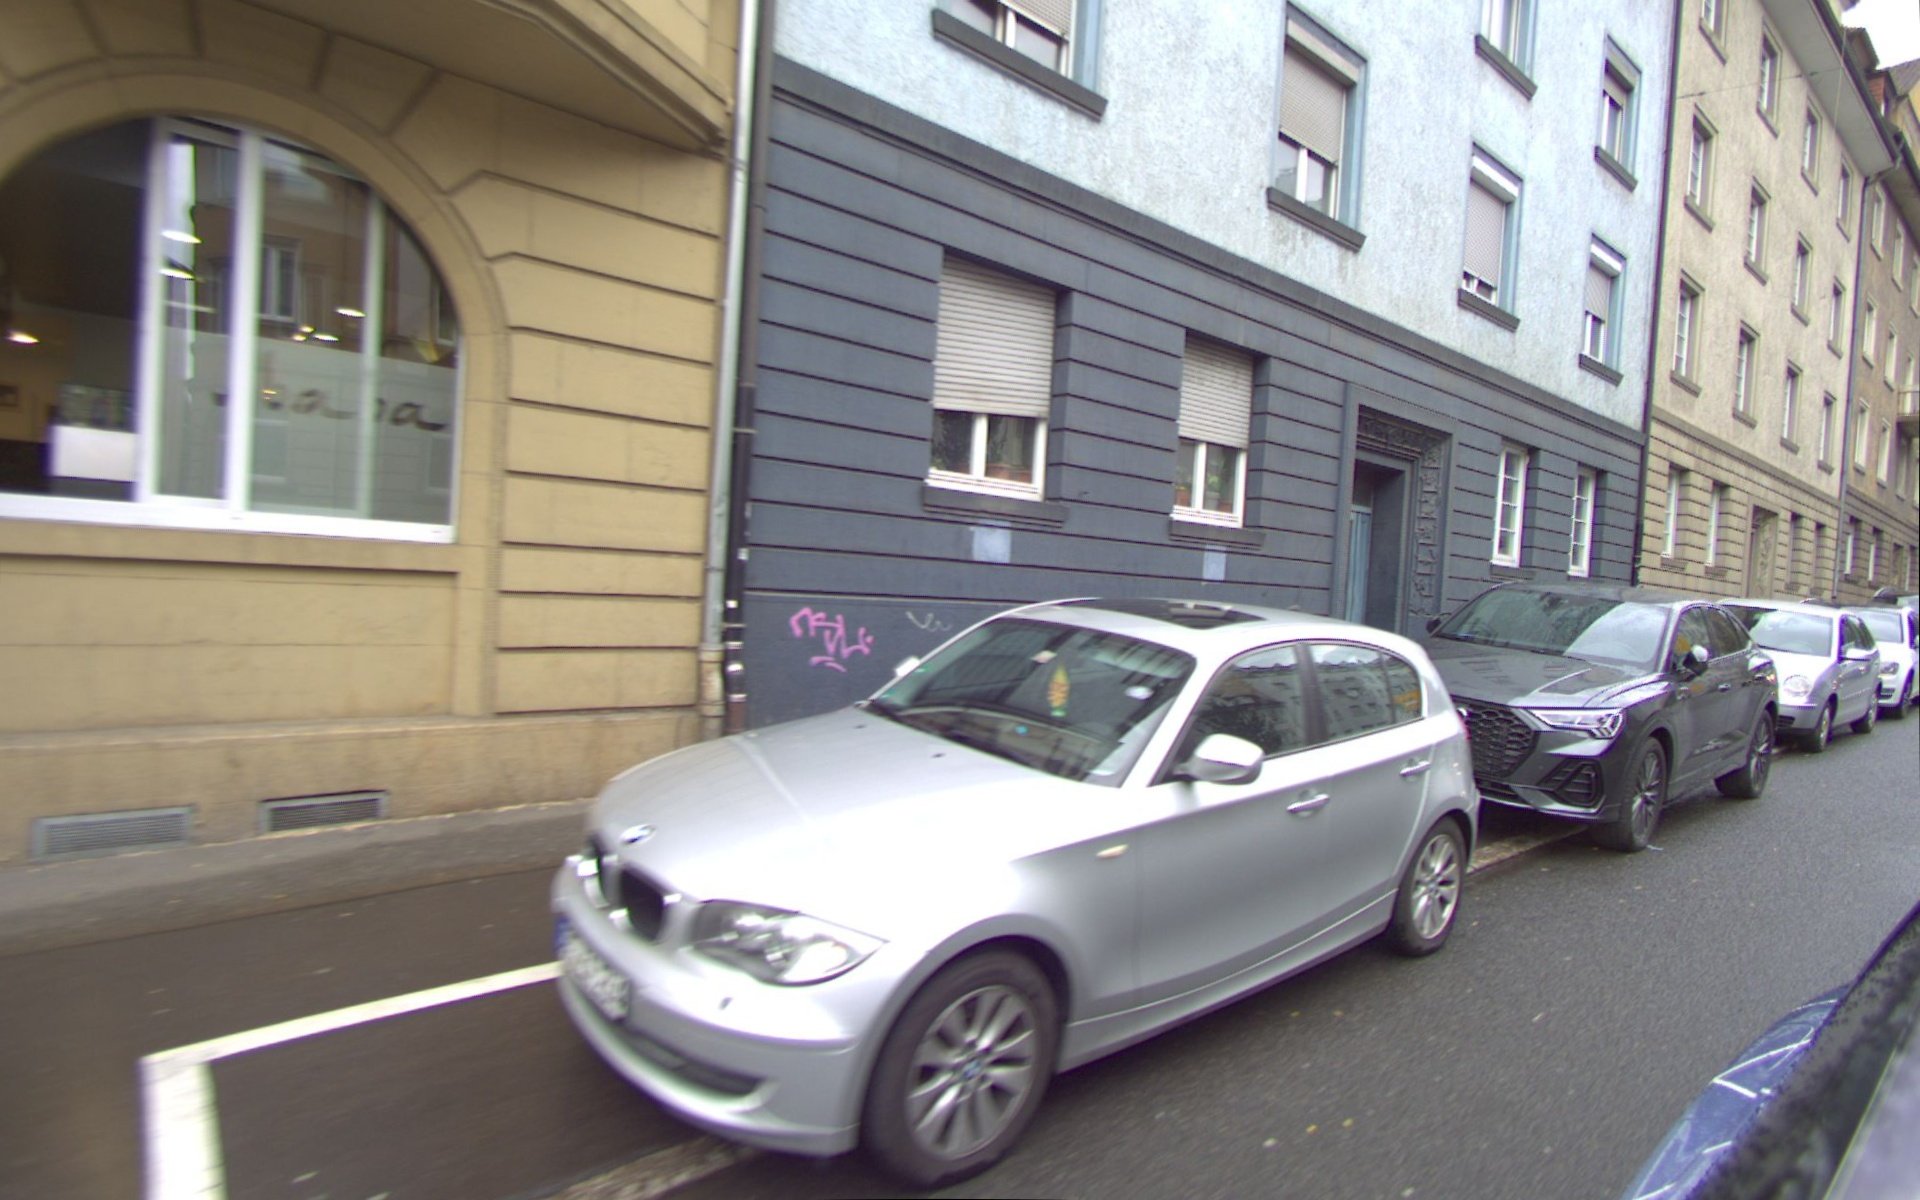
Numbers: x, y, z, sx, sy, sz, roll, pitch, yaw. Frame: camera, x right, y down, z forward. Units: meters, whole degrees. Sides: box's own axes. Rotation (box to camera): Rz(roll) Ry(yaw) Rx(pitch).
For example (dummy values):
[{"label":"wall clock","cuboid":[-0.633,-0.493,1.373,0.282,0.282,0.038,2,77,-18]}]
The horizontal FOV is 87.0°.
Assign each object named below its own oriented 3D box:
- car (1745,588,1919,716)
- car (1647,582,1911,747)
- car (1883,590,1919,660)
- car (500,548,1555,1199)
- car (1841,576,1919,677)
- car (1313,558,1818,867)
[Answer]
[{"label":"car","cuboid":[12.896,0.647,14.508,3.903,1.446,1.734,0,5,-40]},{"label":"car","cuboid":[9.282,0.609,11.391,3.531,1.446,1.587,0,5,-40]},{"label":"car","cuboid":[22.083,0.569,22.424,4.311,1.426,1.845,0,5,-41]},{"label":"car","cuboid":[0.586,0.654,3.909,4.016,1.481,1.574,0,6,-40]},{"label":"car","cuboid":[17.745,0.444,18.515,4.135,1.640,1.845,-1,4,-41]},{"label":"car","cuboid":[4.621,0.570,7.469,4.216,1.576,1.823,0,4,-40]}]
